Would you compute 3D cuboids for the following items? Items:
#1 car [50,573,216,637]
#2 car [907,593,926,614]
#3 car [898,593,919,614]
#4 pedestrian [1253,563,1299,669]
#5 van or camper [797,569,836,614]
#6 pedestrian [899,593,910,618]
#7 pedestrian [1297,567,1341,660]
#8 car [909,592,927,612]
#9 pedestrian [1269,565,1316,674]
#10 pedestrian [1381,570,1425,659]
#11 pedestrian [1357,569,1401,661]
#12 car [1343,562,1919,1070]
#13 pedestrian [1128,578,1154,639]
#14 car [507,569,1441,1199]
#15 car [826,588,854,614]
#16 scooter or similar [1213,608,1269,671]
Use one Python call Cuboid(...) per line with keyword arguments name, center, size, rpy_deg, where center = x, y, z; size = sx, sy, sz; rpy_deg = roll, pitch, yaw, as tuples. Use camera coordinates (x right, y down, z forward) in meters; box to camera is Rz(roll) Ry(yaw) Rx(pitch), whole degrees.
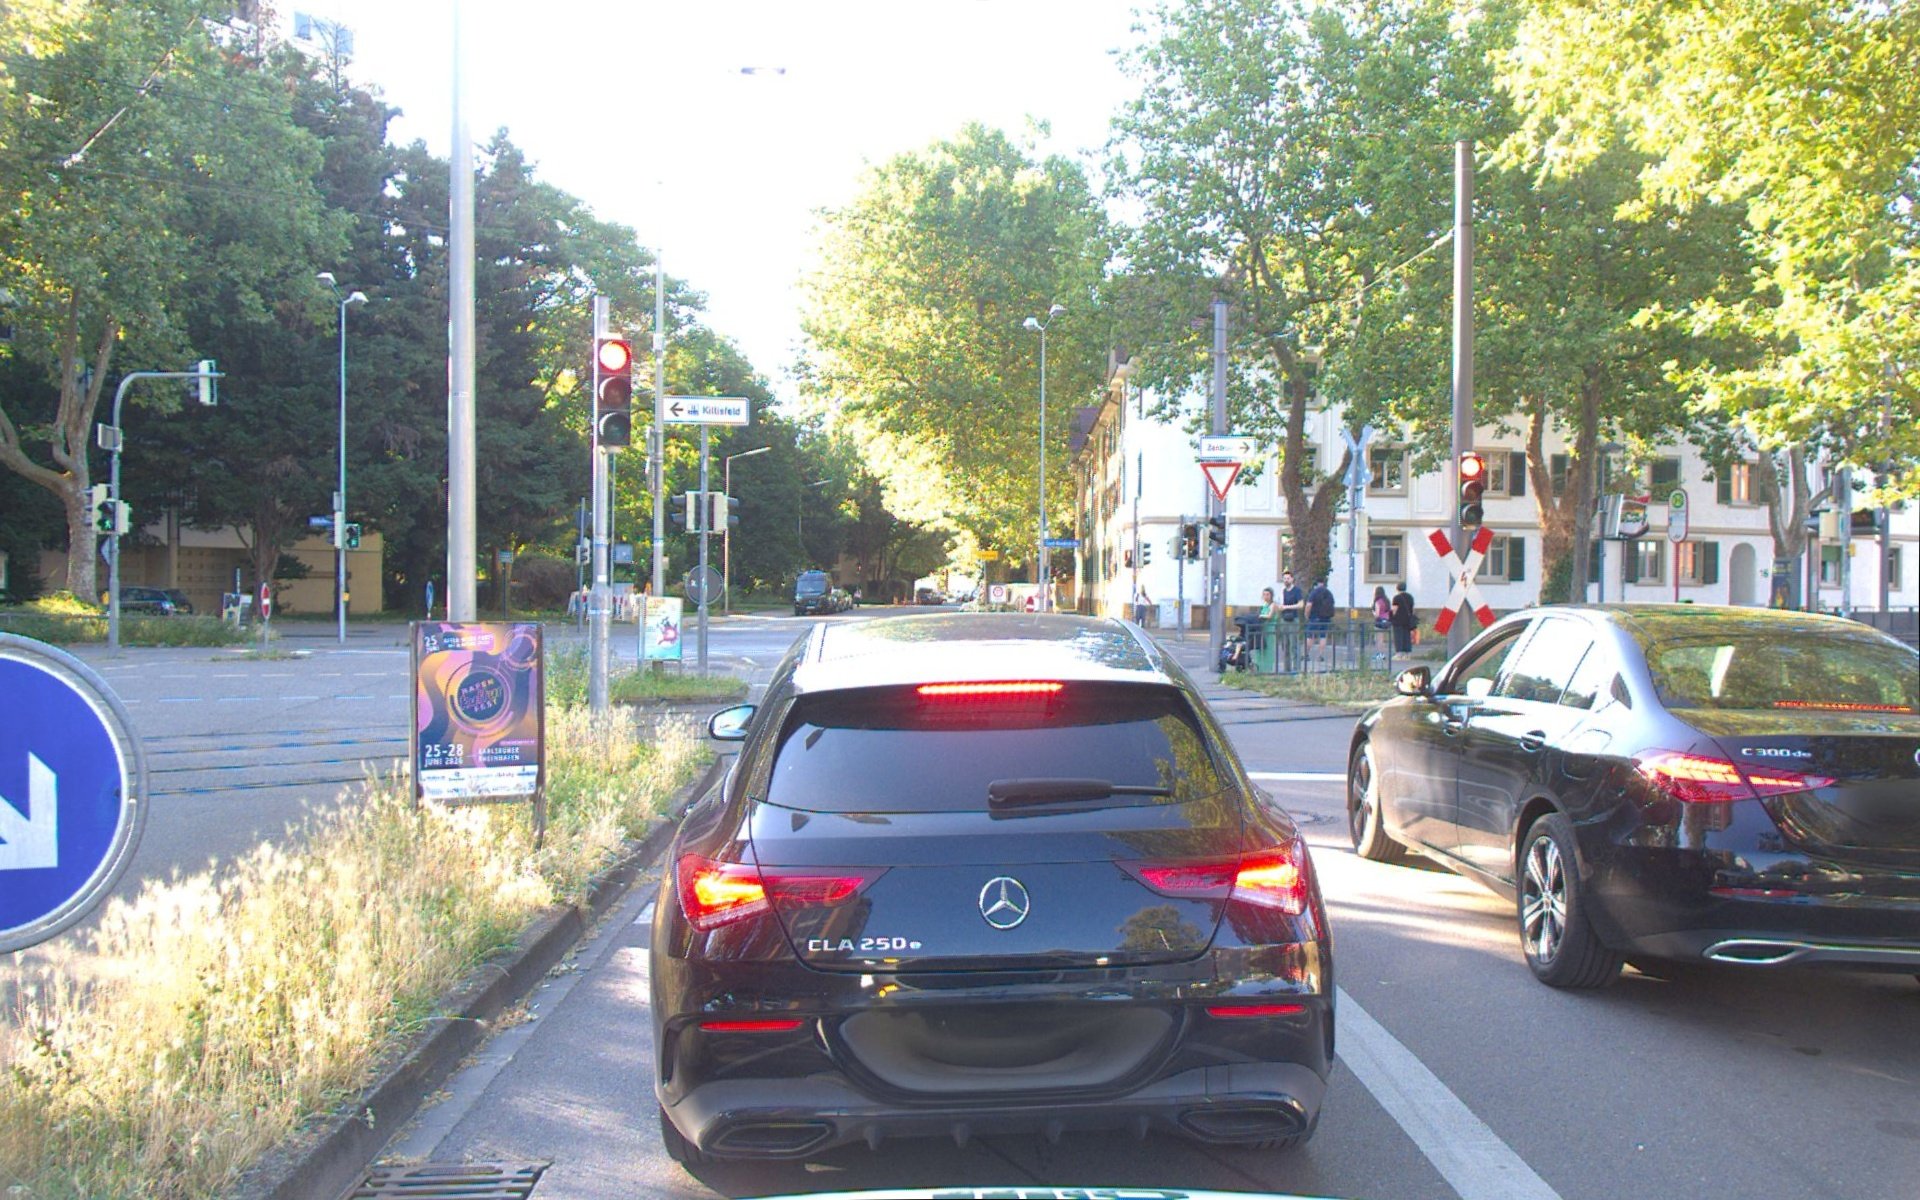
Cuboid(name="car", center=(-24.381, 0.150, 48.847), size=(3.902, 1.805, 2.001), rpy_deg=(1, 0, 7))
Cuboid(name="car", center=(-3.957, 0.314, 150.318), size=(1.698, 1.796, 4.018), rpy_deg=(1, 0, -1))
Cuboid(name="car", center=(-4.531, 0.346, 145.488), size=(1.698, 1.796, 4.018), rpy_deg=(1, 0, -1))
Cuboid(name="pedestrian", center=(5.911, 0.306, 30.975), size=(0.669, 1.951, 0.706), rpy_deg=(1, -1, -5))
Cuboid(name="van or camper", center=(-8.632, -0.484, 99.614), size=(1.953, 2.586, 4.650), rpy_deg=(1, 0, -1))
Cuboid(name="pedestrian", center=(-4.367, 0.452, 129.953), size=(0.692, 1.951, 0.837), rpy_deg=(1, -1, -11))
Cuboid(name="pedestrian", center=(7.684, 0.288, 35.435), size=(0.691, 1.951, 0.838), rpy_deg=(1, -1, -4))
Cuboid(name="car", center=(-4.005, 0.204, 158.401), size=(1.698, 1.796, 4.018), rpy_deg=(1, 0, -1))
Cuboid(name="pedestrian", center=(6.068, 0.359, 30.206), size=(0.669, 1.951, 0.707), rpy_deg=(1, -1, -3))
Cuboid(name="pedestrian", center=(9.857, 0.316, 36.814), size=(0.691, 1.951, 0.838), rpy_deg=(1, -1, -4))
Cuboid(name="pedestrian", center=(9.067, 0.329, 35.802), size=(0.691, 1.951, 0.838), rpy_deg=(1, -1, -4))
Cuboid(name="car", center=(3.167, 0.641, 7.381), size=(1.851, 1.516, 4.382), rpy_deg=(1, 2, 0))
Cuboid(name="pedestrian", center=(5.924, 0.274, 54.102), size=(0.691, 1.951, 0.838), rpy_deg=(1, -1, -4))
Cuboid(name="car", center=(0.041, 0.698, 5.319), size=(1.851, 1.475, 4.001), rpy_deg=(1, 2, 0))
Cuboid(name="car", center=(-8.487, 0.099, 117.436), size=(1.698, 1.796, 4.084), rpy_deg=(1, 0, -1))
Cuboid(name="scooter or similar", center=(5.143, 0.720, 30.312), size=(0.812, 1.124, 0.808), rpy_deg=(1, 0, -6))
